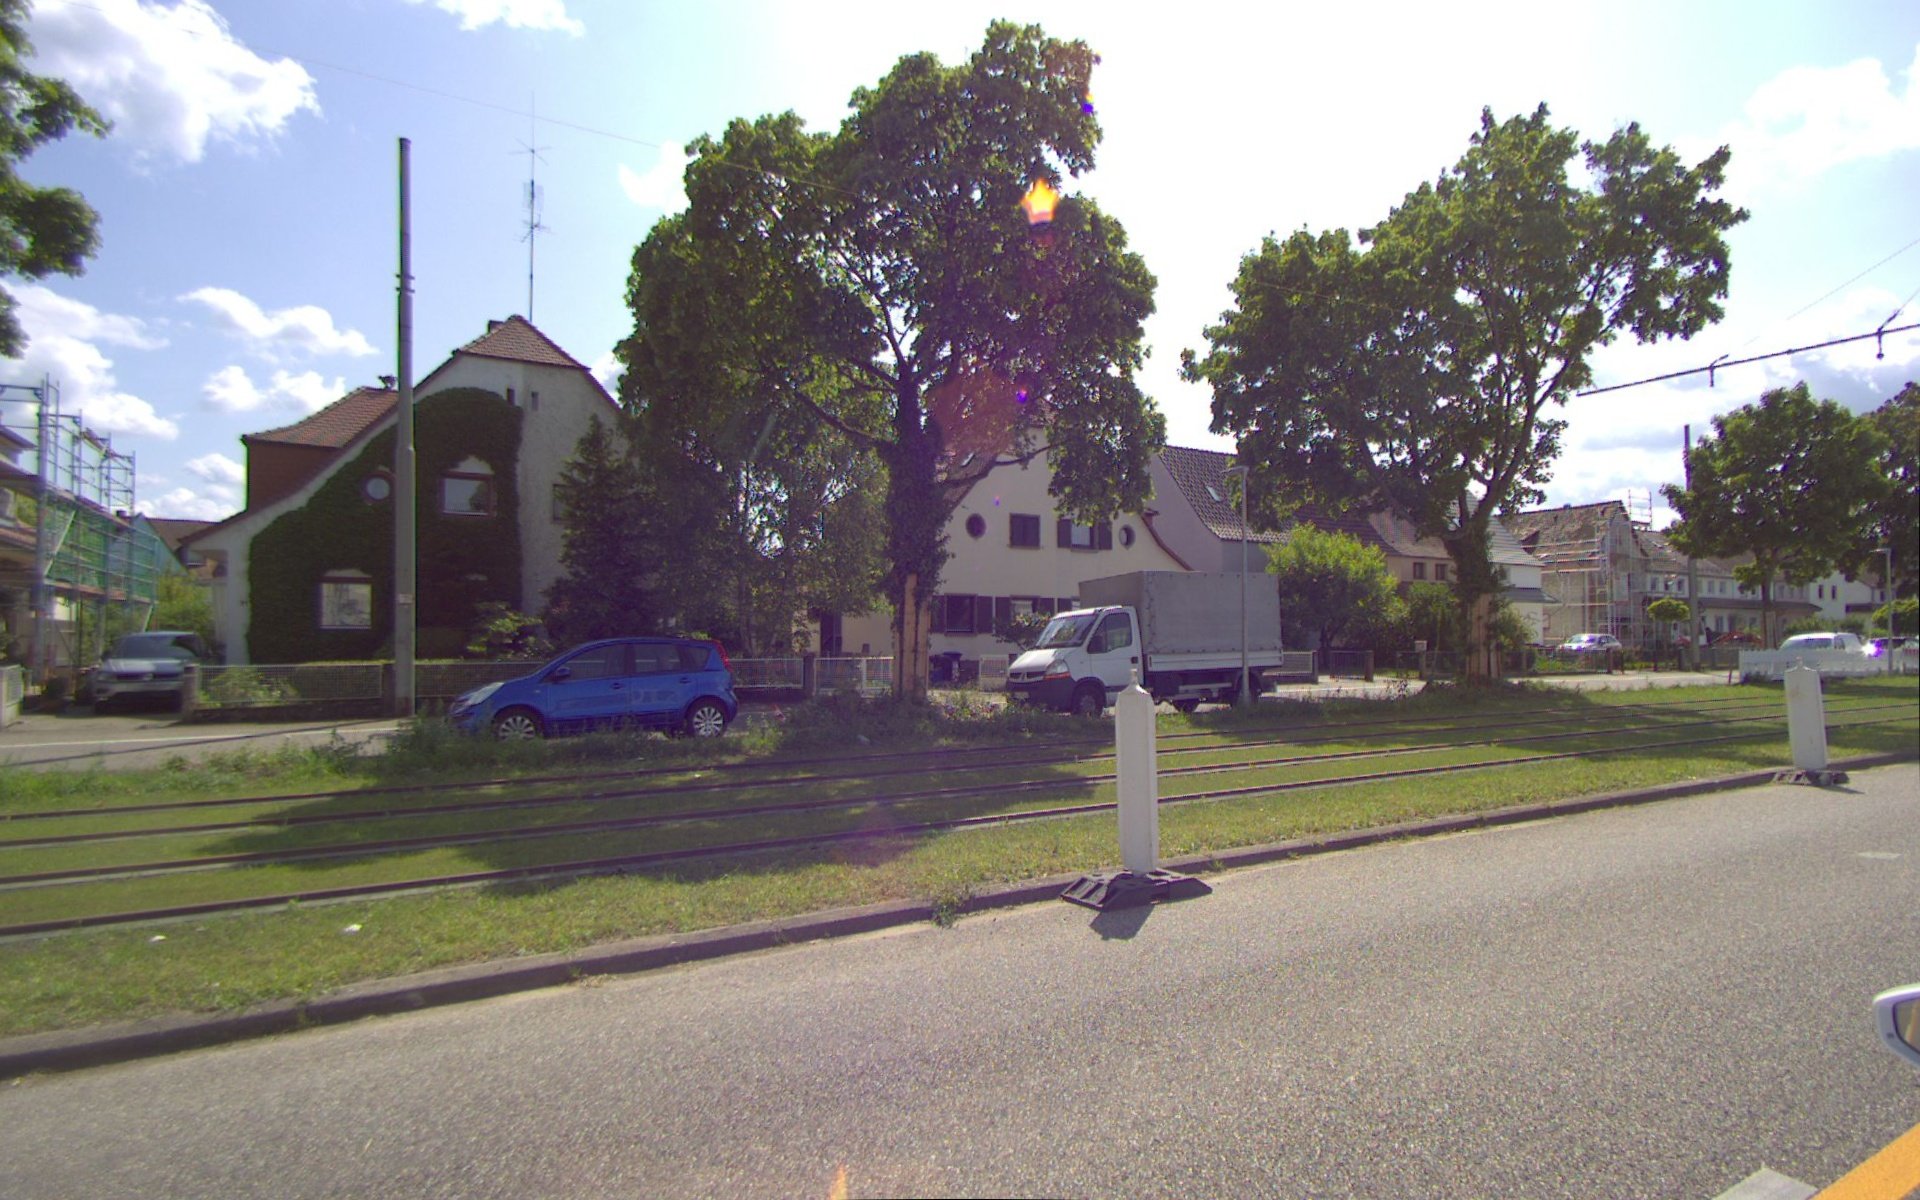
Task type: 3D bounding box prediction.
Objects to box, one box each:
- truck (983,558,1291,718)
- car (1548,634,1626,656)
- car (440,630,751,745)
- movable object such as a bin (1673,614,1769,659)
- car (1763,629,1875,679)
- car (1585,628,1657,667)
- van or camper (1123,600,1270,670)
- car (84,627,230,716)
[{"bbox_3d":[3.638,0.780,20.107,6.203,2.803,1.985,1,-5,-31],"label":"truck"},{"bbox_3d":[32.384,2.335,51.853,3.930,1.066,1.678,2,-3,-28],"label":"car"},{"bbox_3d":[-5.306,1.217,14.720,3.956,1.472,1.983,2,-3,-32],"label":"car"},{"bbox_3d":[43.269,2.075,57.191,4.283,2.481,1.781,-2,-3,39],"label":"movable object such as a bin"},{"bbox_3d":[32.052,2.024,37.490,3.954,1.772,1.984,2,-3,-31],"label":"car"},{"bbox_3d":[31.284,2.257,47.518,2.995,1.744,1.677,2,-3,-30],"label":"car"},{"bbox_3d":[10.220,1.448,43.951,2.672,2.675,6.055,2,1,-33],"label":"van or camper"},{"bbox_3d":[-16.923,1.478,21.370,1.851,1.706,3.631,2,-3,-30],"label":"car"}]
